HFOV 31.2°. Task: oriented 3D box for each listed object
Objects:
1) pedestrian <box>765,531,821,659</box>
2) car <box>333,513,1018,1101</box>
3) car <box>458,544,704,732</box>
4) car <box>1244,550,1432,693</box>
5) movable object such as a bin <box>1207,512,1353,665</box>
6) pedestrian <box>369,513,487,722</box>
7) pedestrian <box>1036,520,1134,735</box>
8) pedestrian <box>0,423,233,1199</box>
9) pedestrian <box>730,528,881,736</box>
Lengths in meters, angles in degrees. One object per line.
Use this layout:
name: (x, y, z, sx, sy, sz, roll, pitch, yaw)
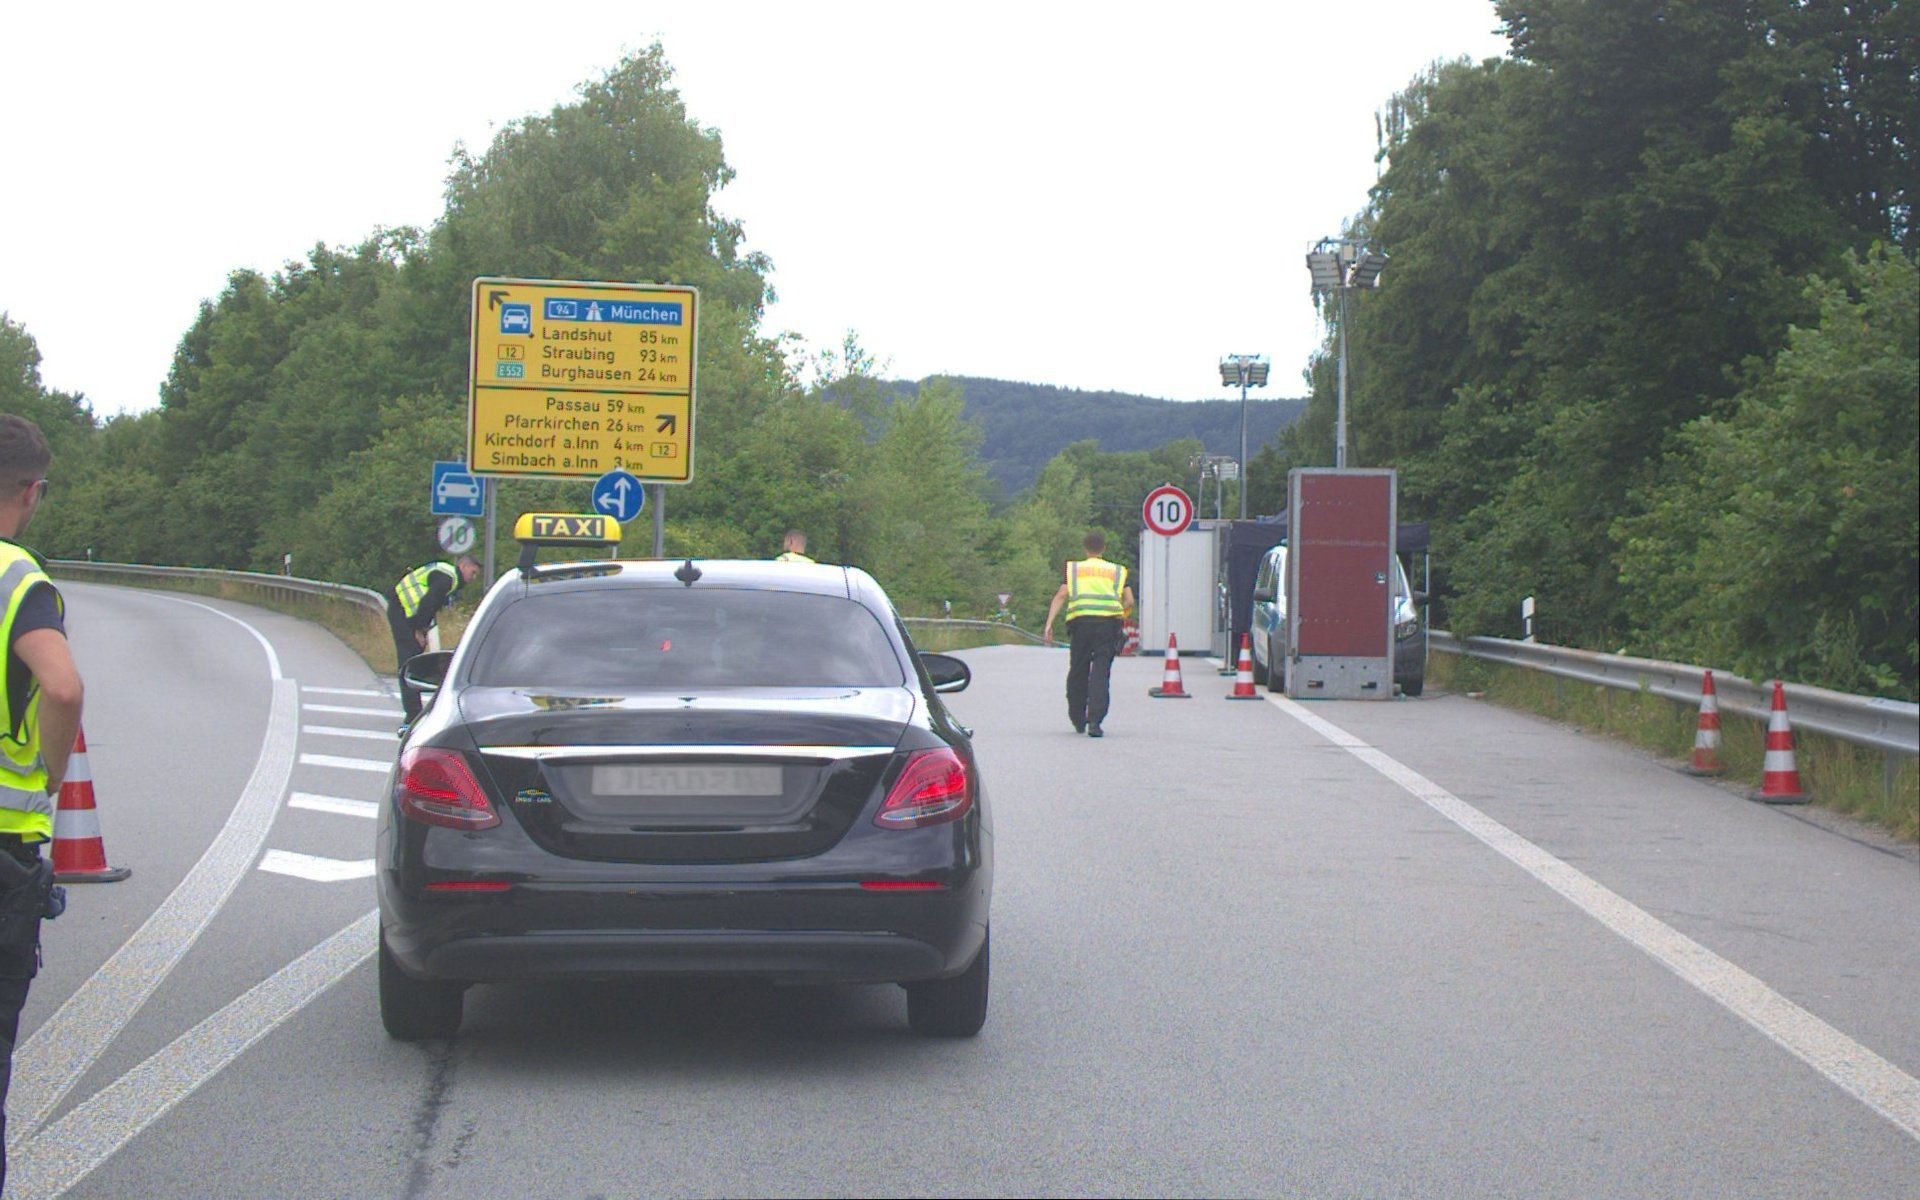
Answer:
pedestrian: (-2.567, -0.081, 52.893, 0.664, 1.954, 0.759, 0, 1, 16)
car: (-0.997, 0.528, 11.553, 1.855, 1.589, 4.376, 0, 1, -6)
car: (-3.179, 0.274, 29.539, 1.855, 1.493, 4.257, 0, 1, -3)
car: (4.823, 0.224, 44.518, 1.916, 1.672, 5.083, 2, 1, 1)
movable object such as a bin: (4.921, -0.201, 53.356, 1.993, 2.272, 4.168, 1, 1, 2)
pedestrian: (-4.575, 0.143, 29.622, 0.910, 1.763, 0.912, 0, 1, -3)
pedestrian: (1.074, 0.229, 29.669, 0.812, 1.824, 0.809, 0, 1, 0)
pedestrian: (-2.010, 0.521, 6.806, 0.761, 1.712, 0.816, 0, 1, 37)
pedestrian: (-1.288, 0.253, 28.674, 0.908, 1.692, 0.914, 0, 1, -32)
